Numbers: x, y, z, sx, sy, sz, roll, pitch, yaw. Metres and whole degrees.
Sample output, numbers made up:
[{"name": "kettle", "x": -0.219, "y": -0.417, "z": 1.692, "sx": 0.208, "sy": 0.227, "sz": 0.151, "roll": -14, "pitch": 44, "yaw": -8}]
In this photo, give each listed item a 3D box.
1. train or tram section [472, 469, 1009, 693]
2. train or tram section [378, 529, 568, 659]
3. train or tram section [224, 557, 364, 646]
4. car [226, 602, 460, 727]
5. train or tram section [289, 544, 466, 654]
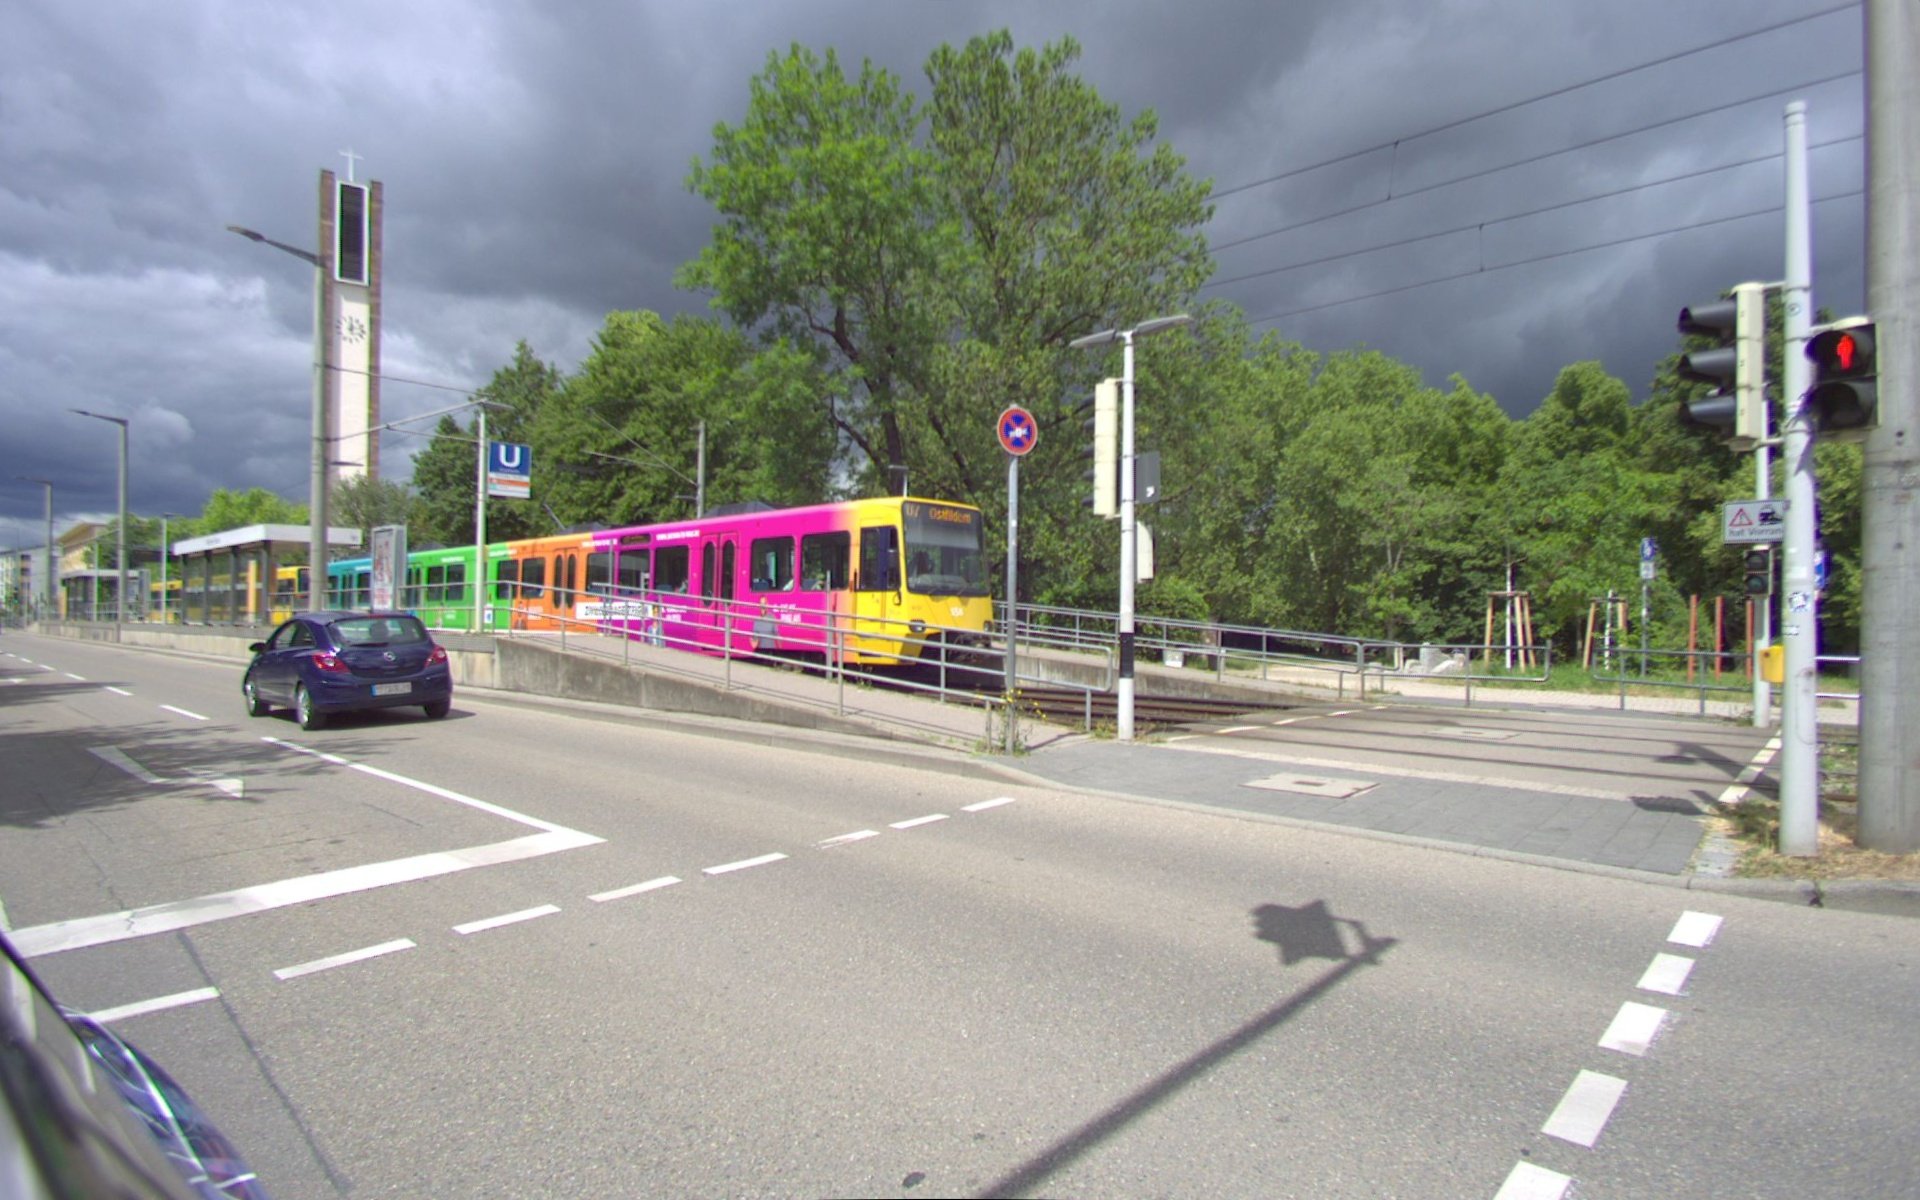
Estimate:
[{"name": "train or tram section", "x": -6.817, "y": -0.278, "z": 24.987, "sx": 18.539, "sy": 3.892, "sz": 2.948, "roll": -1, "pitch": 0, "yaw": 43}, {"name": "train or tram section", "x": -16.639, "y": -0.178, "z": 34.229, "sx": 8.378, "sy": 3.892, "sz": 2.948, "roll": -1, "pitch": 0, "yaw": 43}, {"name": "train or tram section", "x": -32.694, "y": 0.079, "z": 49.342, "sx": 12.201, "sy": 3.892, "sz": 2.948, "roll": -1, "pitch": 0, "yaw": 43}, {"name": "car", "x": -8.491, "y": 0.760, "z": 13.786, "sx": 4.009, "sy": 1.452, "sz": 1.699, "roll": 0, "pitch": 0, "yaw": 43}, {"name": "train or tram section", "x": -23.954, "y": -0.010, "z": 41.160, "sx": 11.787, "sy": 3.892, "sz": 2.948, "roll": -1, "pitch": 0, "yaw": 43}]
